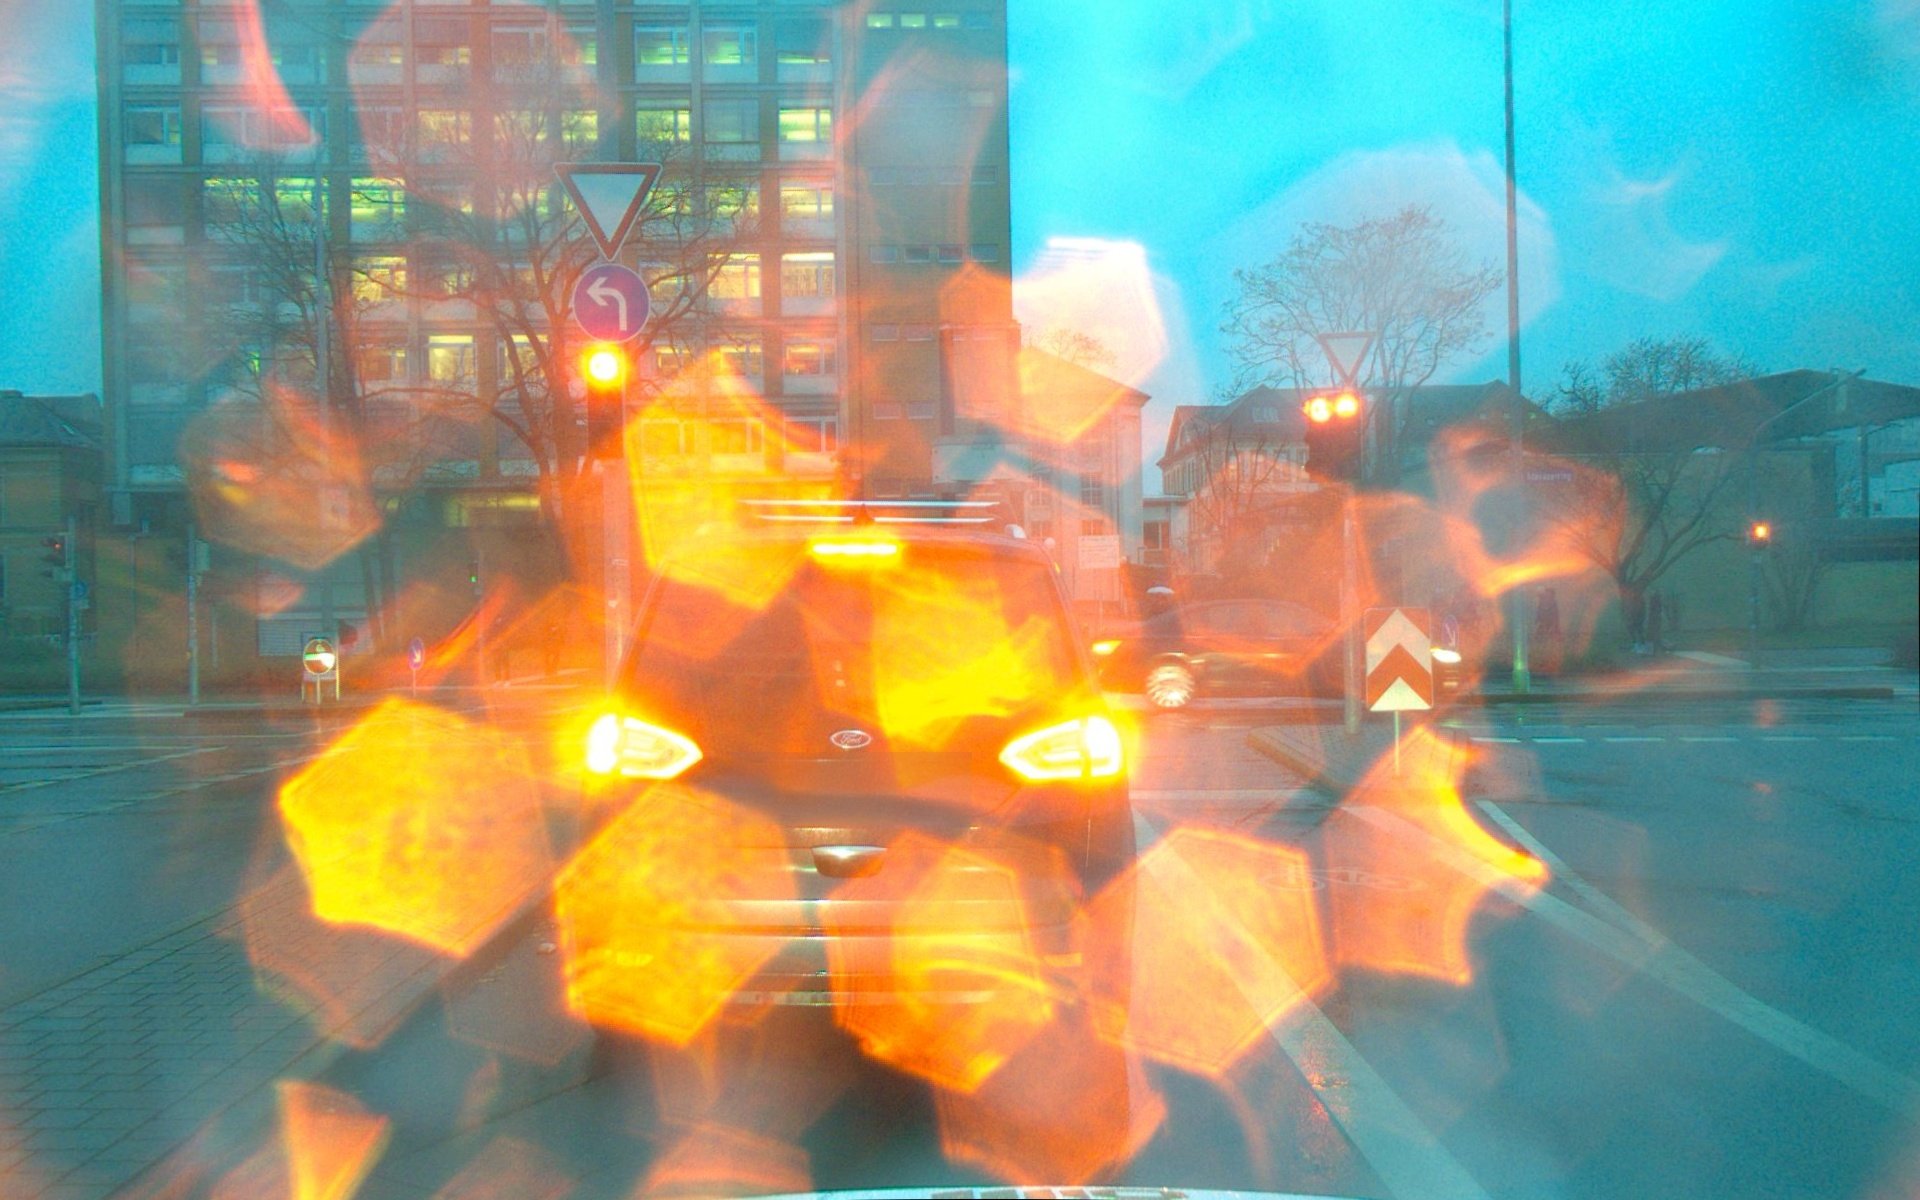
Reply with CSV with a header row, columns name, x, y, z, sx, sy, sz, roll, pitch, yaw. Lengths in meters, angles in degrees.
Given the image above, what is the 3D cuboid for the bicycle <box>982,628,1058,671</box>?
name,x,y,z,sx,sy,sz,roll,pitch,yaw
bicycle,1.581,1.298,43.375,1.843,1.066,0.660,-2,0,18

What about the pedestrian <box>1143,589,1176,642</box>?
name,x,y,z,sx,sy,sz,roll,pitch,yaw
pedestrian,6.334,0.498,52.498,0.708,1.656,0.758,-2,0,39

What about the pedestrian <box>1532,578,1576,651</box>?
name,x,y,z,sx,sy,sz,roll,pitch,yaw
pedestrian,15.272,0.358,42.542,0.975,1.831,0.920,-2,0,17

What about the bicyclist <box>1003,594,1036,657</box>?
name,x,y,z,sx,sy,sz,roll,pitch,yaw
bicyclist,1.569,0.661,43.362,0.670,1.627,0.660,-2,0,18

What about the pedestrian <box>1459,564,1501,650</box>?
name,x,y,z,sx,sy,sz,roll,pitch,yaw
pedestrian,13.275,0.168,42.250,0.874,2.150,0.886,-2,0,11

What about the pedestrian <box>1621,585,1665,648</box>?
name,x,y,z,sx,sy,sz,roll,pitch,yaw
pedestrian,17.435,0.411,42.222,0.874,1.559,0.886,-2,0,14

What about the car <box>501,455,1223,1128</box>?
name,x,y,z,sx,sy,sz,roll,pitch,yaw
car,-0.292,0.538,6.547,1.953,1.821,3.999,1,0,-1

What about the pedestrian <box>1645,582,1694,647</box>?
name,x,y,z,sx,sy,sz,roll,pitch,yaw
pedestrian,17.552,0.352,40.933,0.905,1.559,1.044,-2,0,14

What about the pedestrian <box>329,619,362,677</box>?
name,x,y,z,sx,sy,sz,roll,pitch,yaw
pedestrian,-18.507,1.435,49.828,0.625,1.718,0.637,-2,0,16

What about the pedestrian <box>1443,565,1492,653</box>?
name,x,y,z,sx,sy,sz,roll,pitch,yaw
pedestrian,12.608,0.220,41.103,0.875,2.150,0.886,-2,0,-1

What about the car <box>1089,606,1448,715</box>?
name,x,y,z,sx,sy,sz,roll,pitch,yaw
car,4.150,0.804,22.590,4.584,1.324,1.940,-2,-1,10

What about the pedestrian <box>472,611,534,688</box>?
name,x,y,z,sx,sy,sz,roll,pitch,yaw
pedestrian,-11.769,1.264,42.616,0.981,1.874,1.139,-2,2,22
